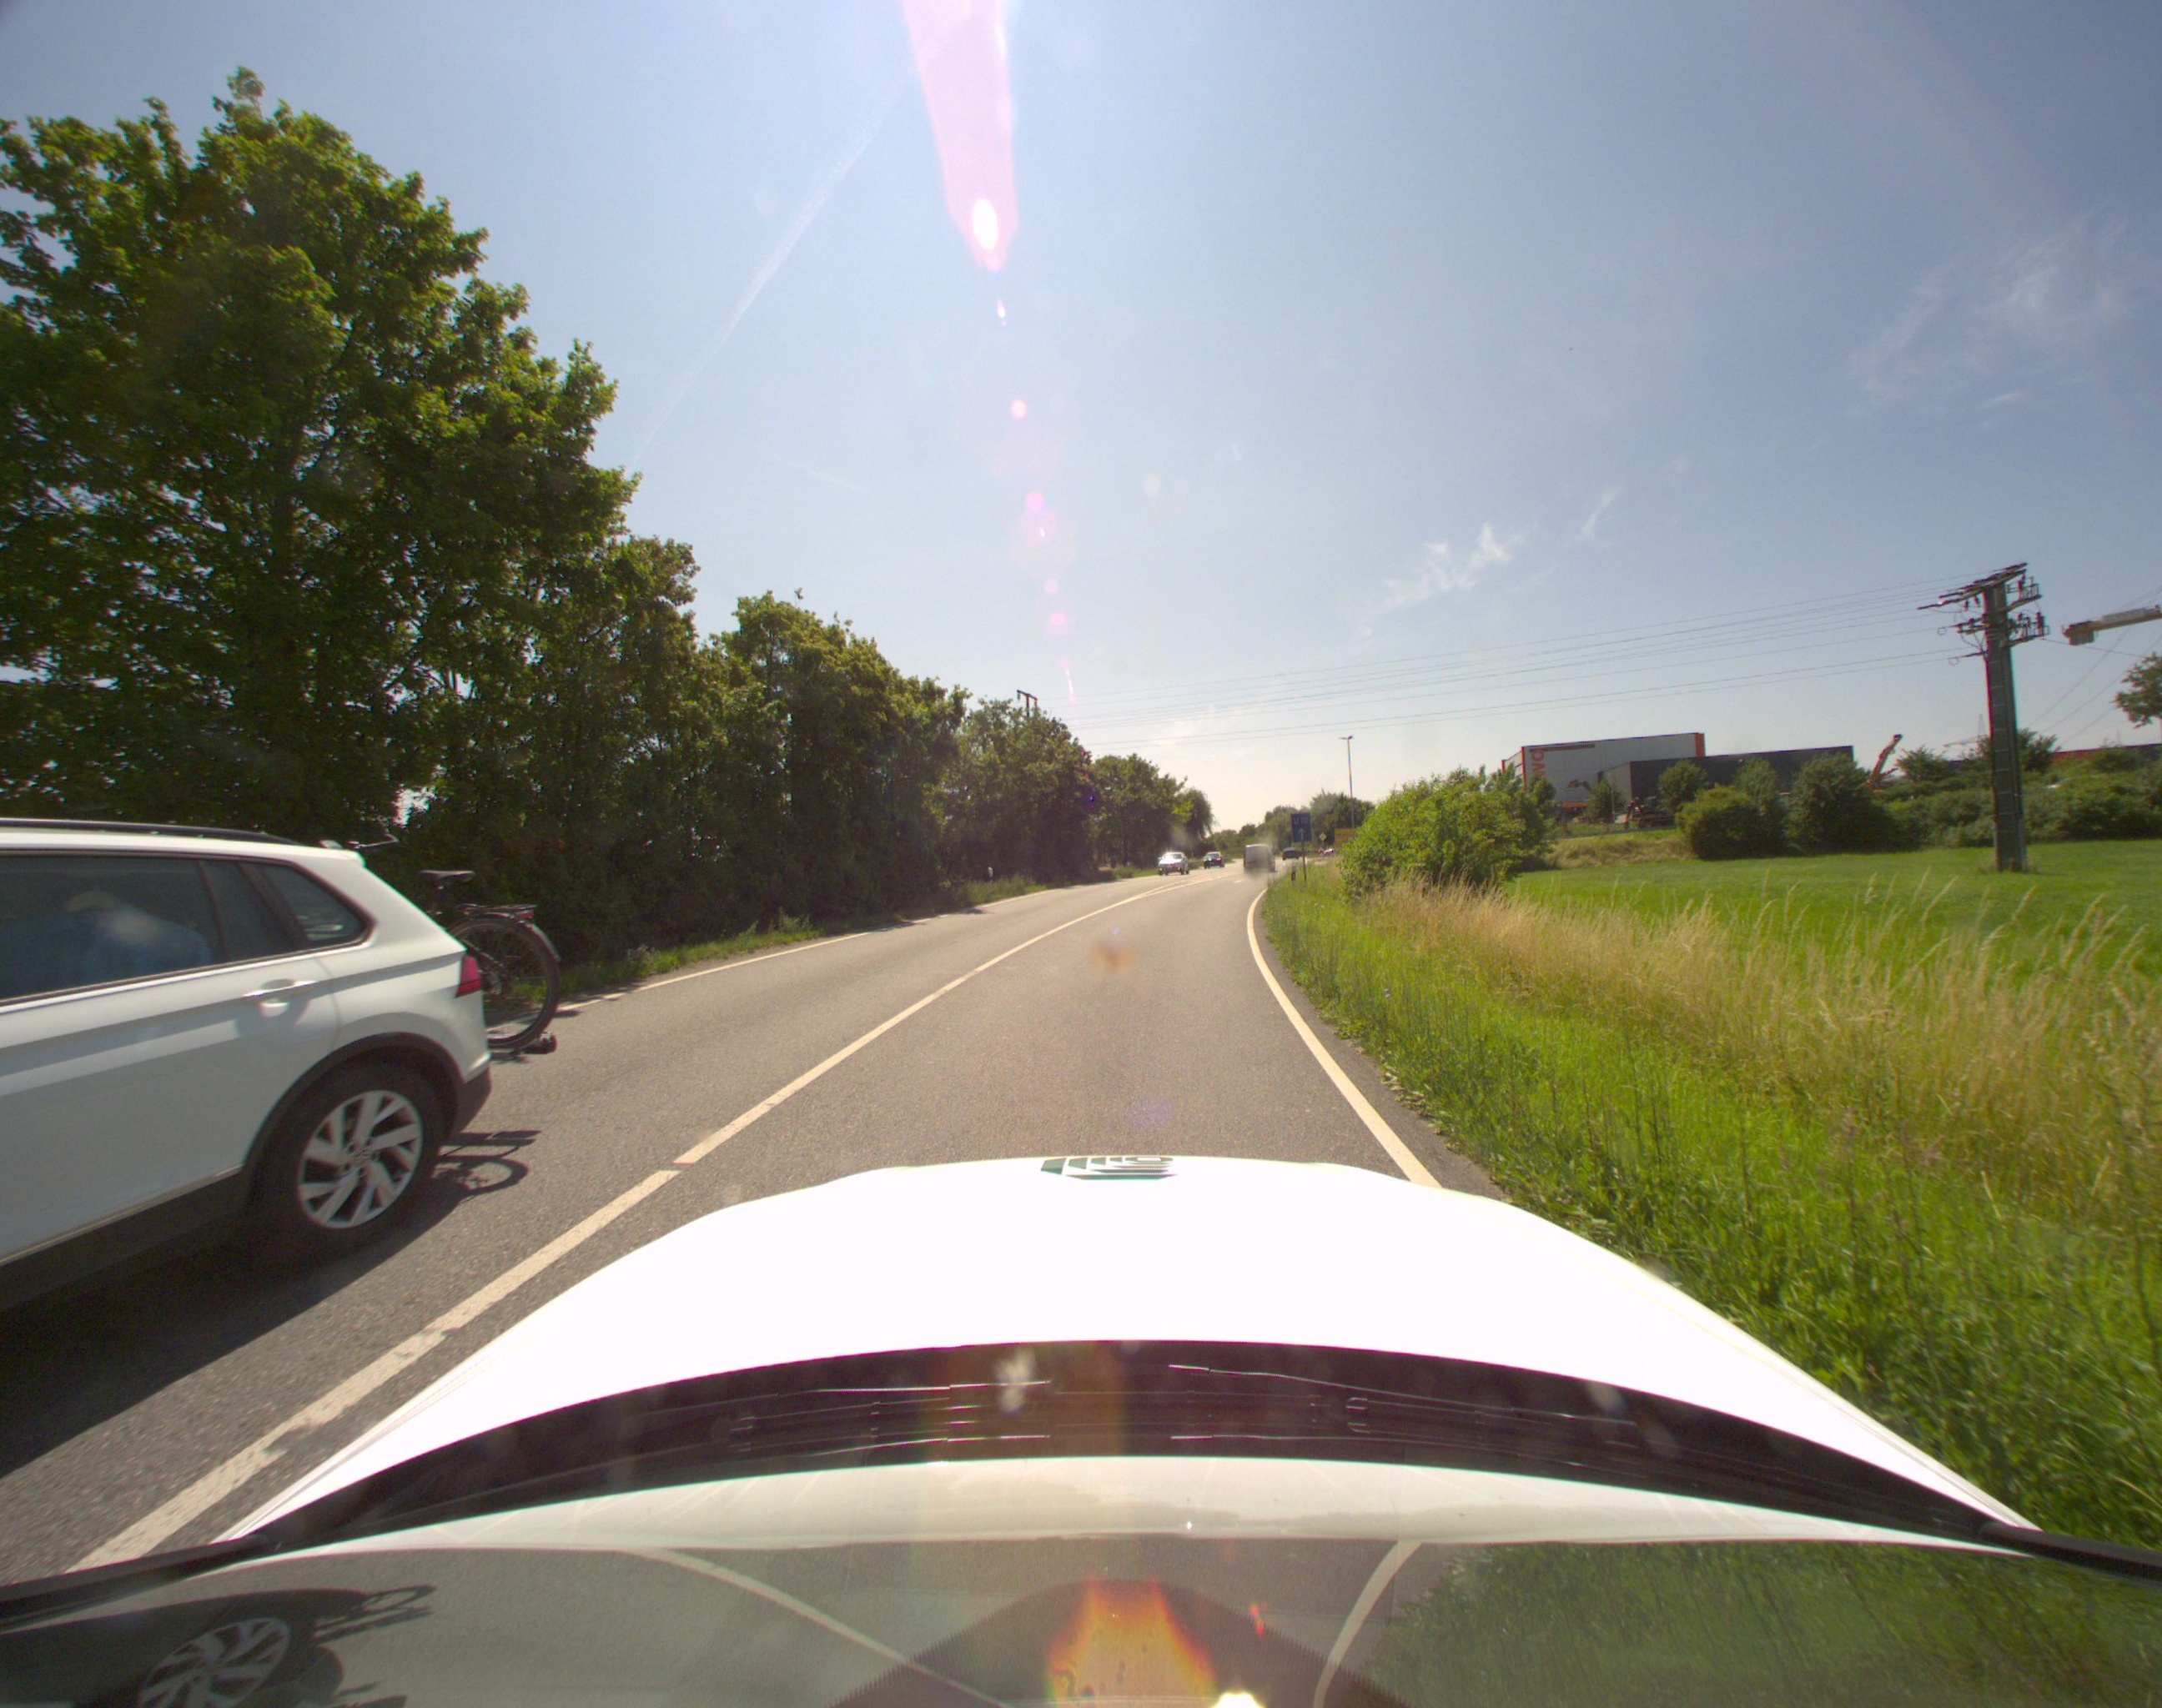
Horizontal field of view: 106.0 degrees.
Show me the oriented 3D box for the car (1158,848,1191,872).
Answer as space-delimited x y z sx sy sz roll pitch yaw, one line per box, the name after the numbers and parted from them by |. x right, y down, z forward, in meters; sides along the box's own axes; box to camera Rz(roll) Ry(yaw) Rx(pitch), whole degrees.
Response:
6.668 0.407 57.735 1.728 1.589 4.016 -1 0 15 | car

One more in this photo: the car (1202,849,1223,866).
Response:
13.072 0.324 80.596 1.720 1.590 3.972 -2 0 13 | car

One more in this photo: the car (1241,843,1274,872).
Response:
11.382 0.227 52.305 1.890 1.732 3.837 -3 -1 14 | car

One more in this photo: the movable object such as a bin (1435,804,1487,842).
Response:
56.187 -4.541 120.635 6.537 5.148 3.824 -2 -2 18 | movable object such as a bin

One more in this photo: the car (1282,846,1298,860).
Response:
25.997 -0.173 101.388 1.792 1.556 4.017 -3 1 15 | car

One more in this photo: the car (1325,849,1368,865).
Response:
30.410 0.316 93.426 4.477 1.508 1.923 -4 -1 16 | car

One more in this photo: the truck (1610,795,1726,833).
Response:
57.219 -3.867 79.638 8.728 3.137 3.114 -1 -2 6 | truck

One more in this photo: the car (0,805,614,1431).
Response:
-3.683 0.679 2.274 1.848 1.601 4.780 0 0 2 | car
